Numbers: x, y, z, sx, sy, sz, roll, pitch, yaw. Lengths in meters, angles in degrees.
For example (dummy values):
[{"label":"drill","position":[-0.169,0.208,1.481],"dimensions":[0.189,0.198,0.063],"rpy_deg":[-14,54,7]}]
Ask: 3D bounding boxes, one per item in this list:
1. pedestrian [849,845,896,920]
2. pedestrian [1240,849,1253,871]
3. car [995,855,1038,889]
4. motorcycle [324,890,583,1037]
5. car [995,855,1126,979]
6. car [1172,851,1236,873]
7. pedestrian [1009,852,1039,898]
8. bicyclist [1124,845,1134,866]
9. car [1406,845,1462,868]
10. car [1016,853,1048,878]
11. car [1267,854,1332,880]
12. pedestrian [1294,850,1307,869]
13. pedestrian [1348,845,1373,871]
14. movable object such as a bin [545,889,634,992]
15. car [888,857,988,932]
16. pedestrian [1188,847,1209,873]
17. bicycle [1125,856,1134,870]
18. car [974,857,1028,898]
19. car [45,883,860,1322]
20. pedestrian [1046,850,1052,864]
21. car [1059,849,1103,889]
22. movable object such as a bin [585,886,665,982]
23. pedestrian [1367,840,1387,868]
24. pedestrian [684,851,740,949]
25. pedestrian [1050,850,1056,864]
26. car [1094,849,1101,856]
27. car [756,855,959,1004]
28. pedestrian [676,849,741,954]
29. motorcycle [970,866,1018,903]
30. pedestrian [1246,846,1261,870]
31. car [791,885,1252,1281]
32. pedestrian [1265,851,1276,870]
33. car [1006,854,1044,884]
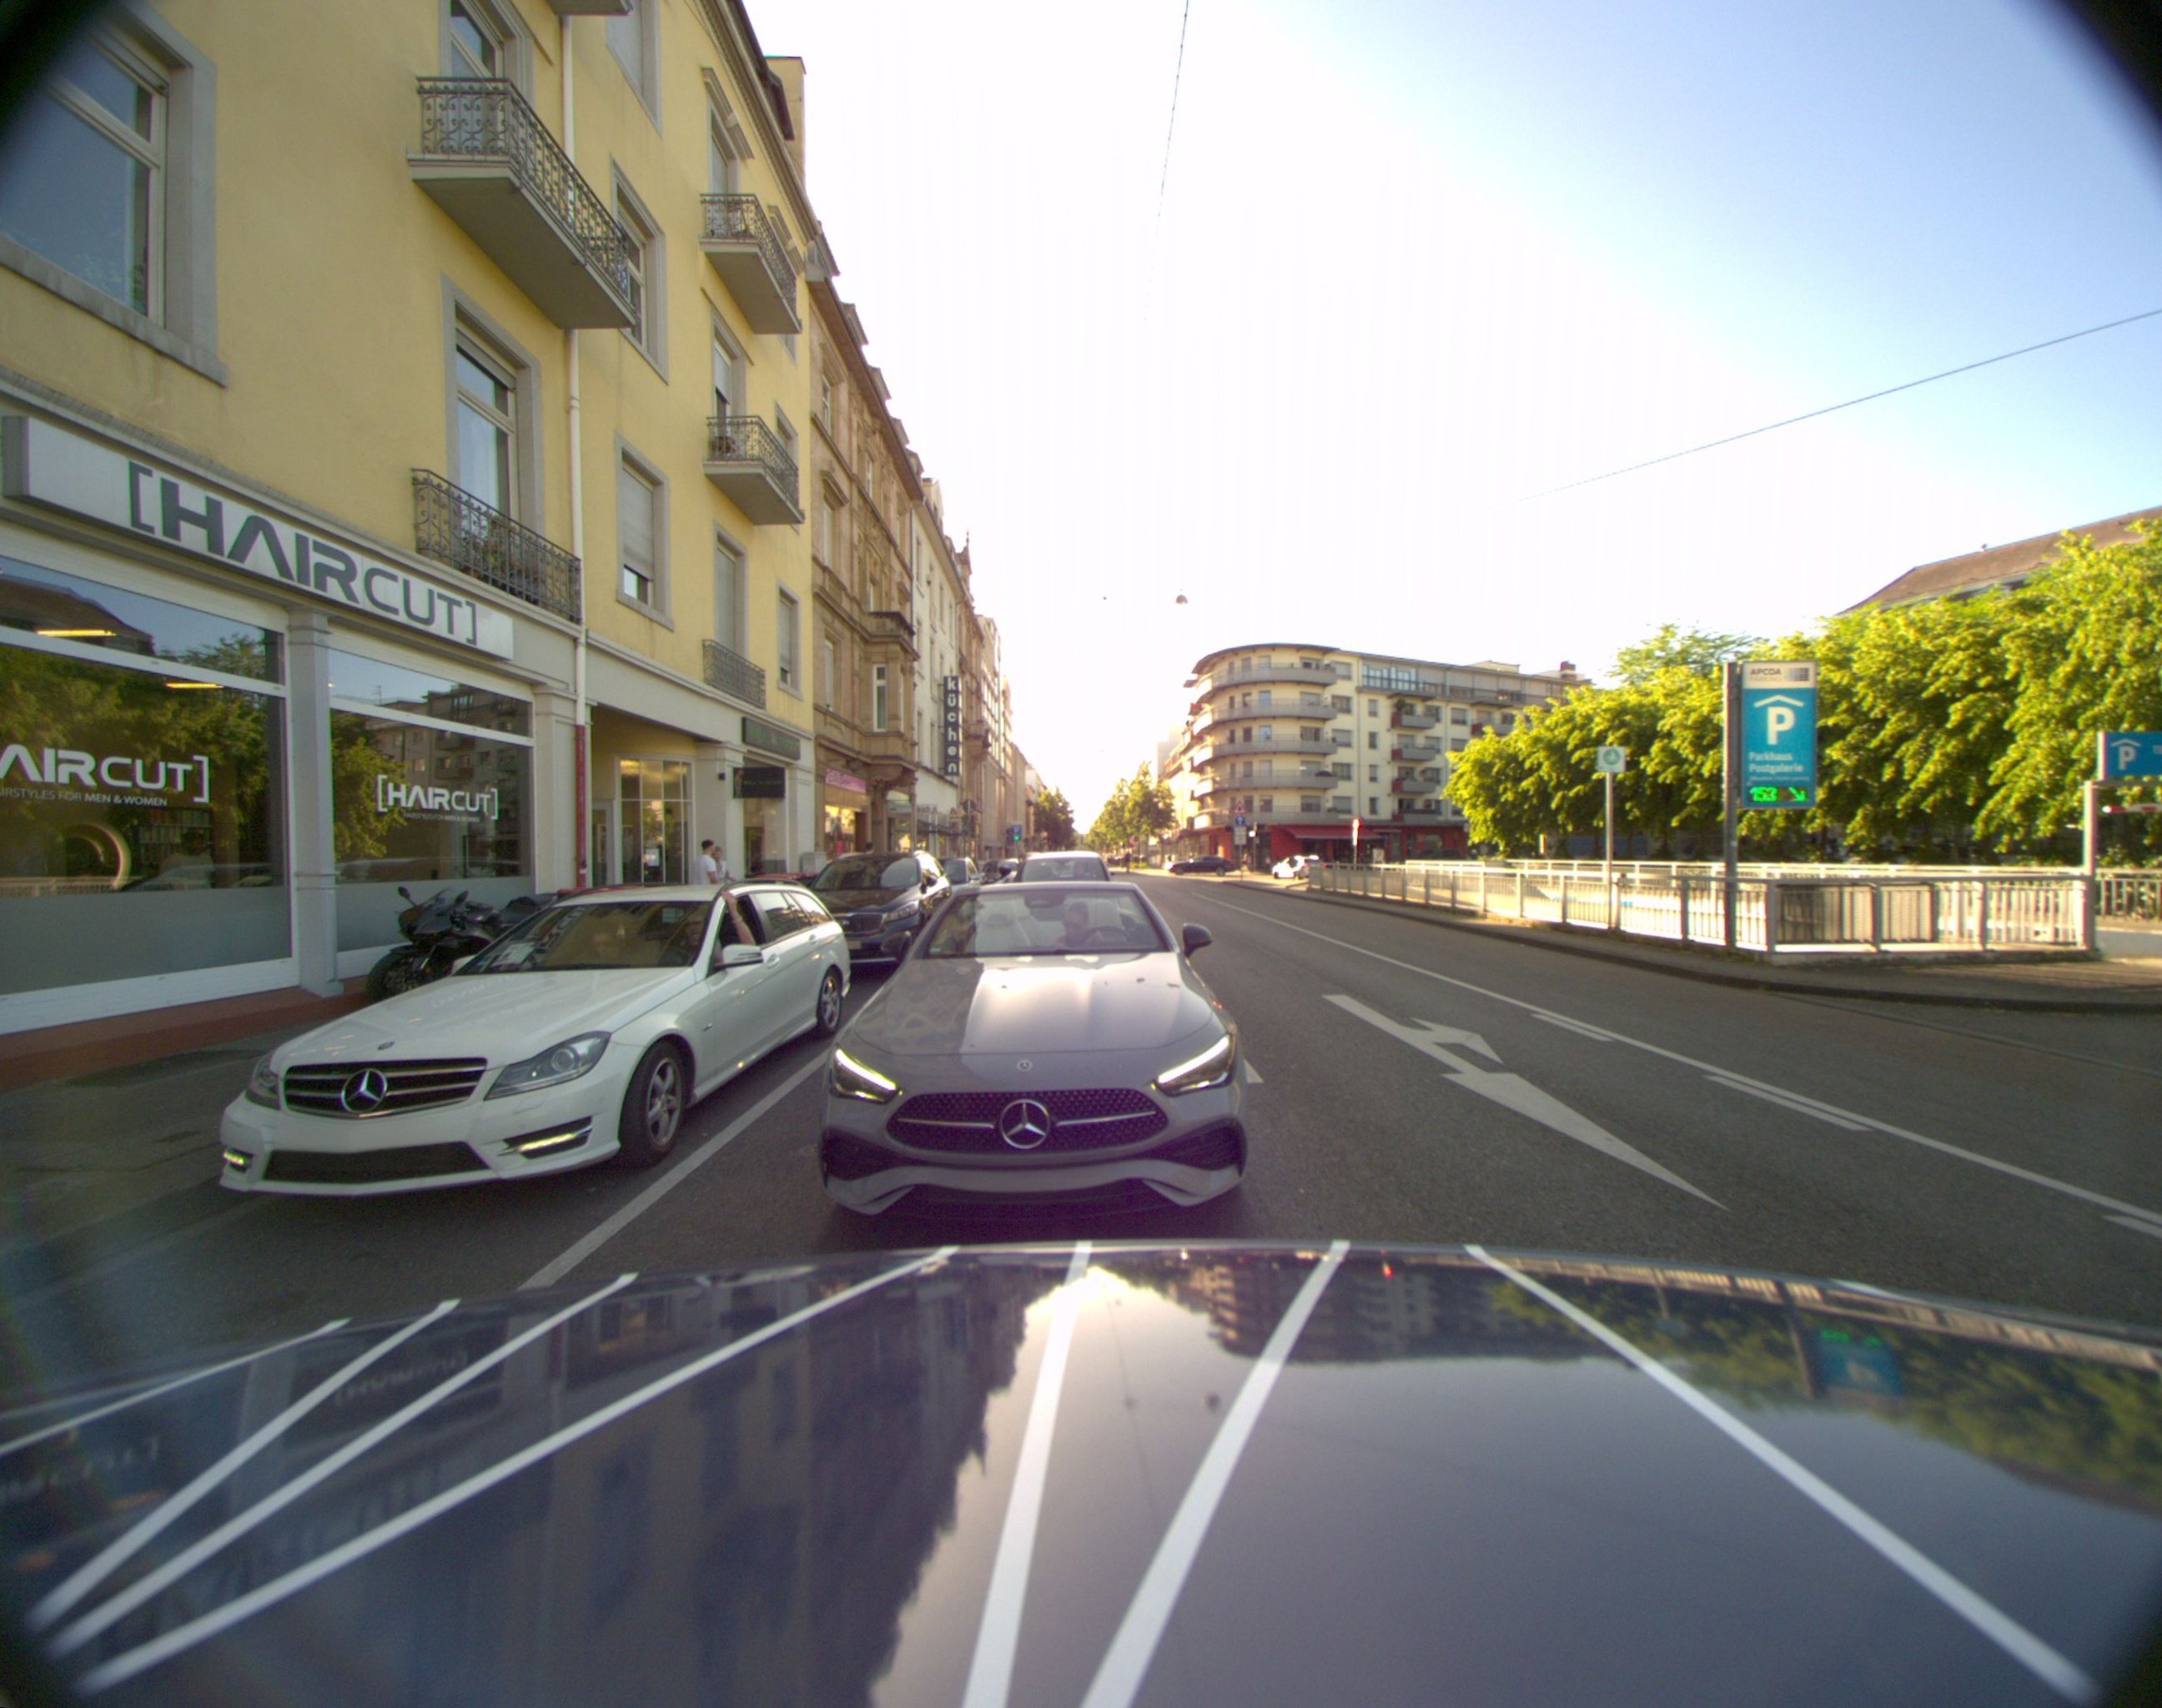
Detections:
[{"label":"pedestrian","position":[-4.595,0.607,16.767],"dimensions":[0.795,1.607,0.763],"rpy_deg":[-1,1,-1]},{"label":"pedestrian","position":[12.839,0.446,58.922],"dimensions":[0.676,1.696,0.698],"rpy_deg":[-2,1,-29]},{"label":"car","position":[-3.052,0.808,36.469],"dimensions":[1.715,1.477,3.999],"rpy_deg":[-1,0,0]},{"label":"motorcycle","position":[-6.263,1.020,7.814],"dimensions":[0.773,1.158,2.247],"rpy_deg":[1,0,1]},{"label":"car","position":[-0.252,0.847,12.165],"dimensions":[1.716,1.599,4.000],"rpy_deg":[-1,0,1]},{"label":"car","position":[8.547,0.535,52.635],"dimensions":[4.282,1.375,2.002],"rpy_deg":[-1,0,13]},{"label":"pedestrian","position":[-2.063,0.755,27.644],"dimensions":[0.695,1.657,0.832],"rpy_deg":[-2,1,-42]},{"label":"bicyclist","position":[3.860,0.136,61.129],"dimensions":[0.757,1.651,1.144],"rpy_deg":[-2,1,5]},{"label":"car","position":[29.032,0.170,62.439],"dimensions":[4.004,1.740,1.996],"rpy_deg":[-2,1,-23]},{"label":"car","position":[-3.026,0.686,47.581],"dimensions":[1.715,1.477,4.062],"rpy_deg":[-1,0,0]},{"label":"car","position":[13.020,0.750,45.560],"dimensions":[1.804,1.426,4.246],"rpy_deg":[-2,0,-14]},{"label":"pedestrian","position":[17.688,0.435,61.142],"dimensions":[0.583,1.453,0.790],"rpy_deg":[-2,1,-37]},{"label":"pedestrian","position":[21.727,0.330,59.084],"dimensions":[1.234,2.002,1.259],"rpy_deg":[-2,1,-21]},{"label":"movable object such as a bin","position":[-6.110,1.060,9.476],"dimensions":[0.647,1.200,0.644],"rpy_deg":[-1,1,1]},{"label":"car","position":[-3.279,0.887,17.952],"dimensions":[1.696,1.559,3.018],"rpy_deg":[-1,0,1]},{"label":"pedestrian","position":[9.207,0.463,59.351],"dimensions":[1.202,2.002,1.018],"rpy_deg":[-3,1,-37]},{"label":"bicycle","position":[3.878,0.683,61.025],"dimensions":[0.661,1.083,1.971],"rpy_deg":[-1,0,4]},{"label":"car","position":[-3.168,0.894,30.715],"dimensions":[1.715,1.477,3.999],"rpy_deg":[-1,0,0]},{"label":"car","position":[-3.077,1.042,5.223],"dimensions":[1.759,1.453,4.597],"rpy_deg":[-1,0,0]},{"label":"pedestrian","position":[-4.165,0.401,98.490],"dimensions":[0.528,1.875,0.567],"rpy_deg":[-2,1,-29]},{"label":"car","position":[0.017,0.676,36.160],"dimensions":[1.952,1.742,4.000],"rpy_deg":[-1,0,1]},{"label":"movable object such as a bin","position":[-6.060,1.050,10.128],"dimensions":[0.647,1.200,0.644],"rpy_deg":[-1,1,1]},{"label":"pedestrian","position":[21.523,-0.018,55.206],"dimensions":[1.316,2.002,1.297],"rpy_deg":[-1,1,21]},{"label":"pedestrian","position":[-6.214,0.758,12.825],"dimensions":[0.572,1.607,0.643],"rpy_deg":[-1,1,2]},{"label":"pedestrian","position":[-3.621,0.360,98.743],"dimensions":[0.467,1.769,0.567],"rpy_deg":[-2,1,-29]},{"label":"car","position":[4.585,-0.434,212.298],"dimensions":[1.998,1.805,4.000],"rpy_deg":[-1,0,1]},{"label":"car","position":[-3.006,0.889,11.317],"dimensions":[1.858,1.688,4.697],"rpy_deg":[-1,0,-4]},{"label":"pedestrian","position":[-5.882,0.728,12.037],"dimensions":[0.642,1.607,0.701],"rpy_deg":[-1,1,-1]},{"label":"motorcycle","position":[-3.059,1.044,26.776],"dimensions":[0.769,1.225,1.546],"rpy_deg":[-1,1,42]},{"label":"pedestrian","position":[13.422,0.310,59.151],"dimensions":[0.756,1.795,0.755],"rpy_deg":[-2,1,-41]},{"label":"car","position":[-0.259,1.028,5.250],"dimensions":[1.849,1.371,4.255],"rpy_deg":[-2,0,-1]},{"label":"pedestrian","position":[15.051,0.495,60.259],"dimensions":[0.791,1.452,0.583],"rpy_deg":[-1,1,10]},{"label":"car","position":[-2.984,0.758,40.987],"dimensions":[1.715,1.477,3.999],"rpy_deg":[-1,0,0]}]
